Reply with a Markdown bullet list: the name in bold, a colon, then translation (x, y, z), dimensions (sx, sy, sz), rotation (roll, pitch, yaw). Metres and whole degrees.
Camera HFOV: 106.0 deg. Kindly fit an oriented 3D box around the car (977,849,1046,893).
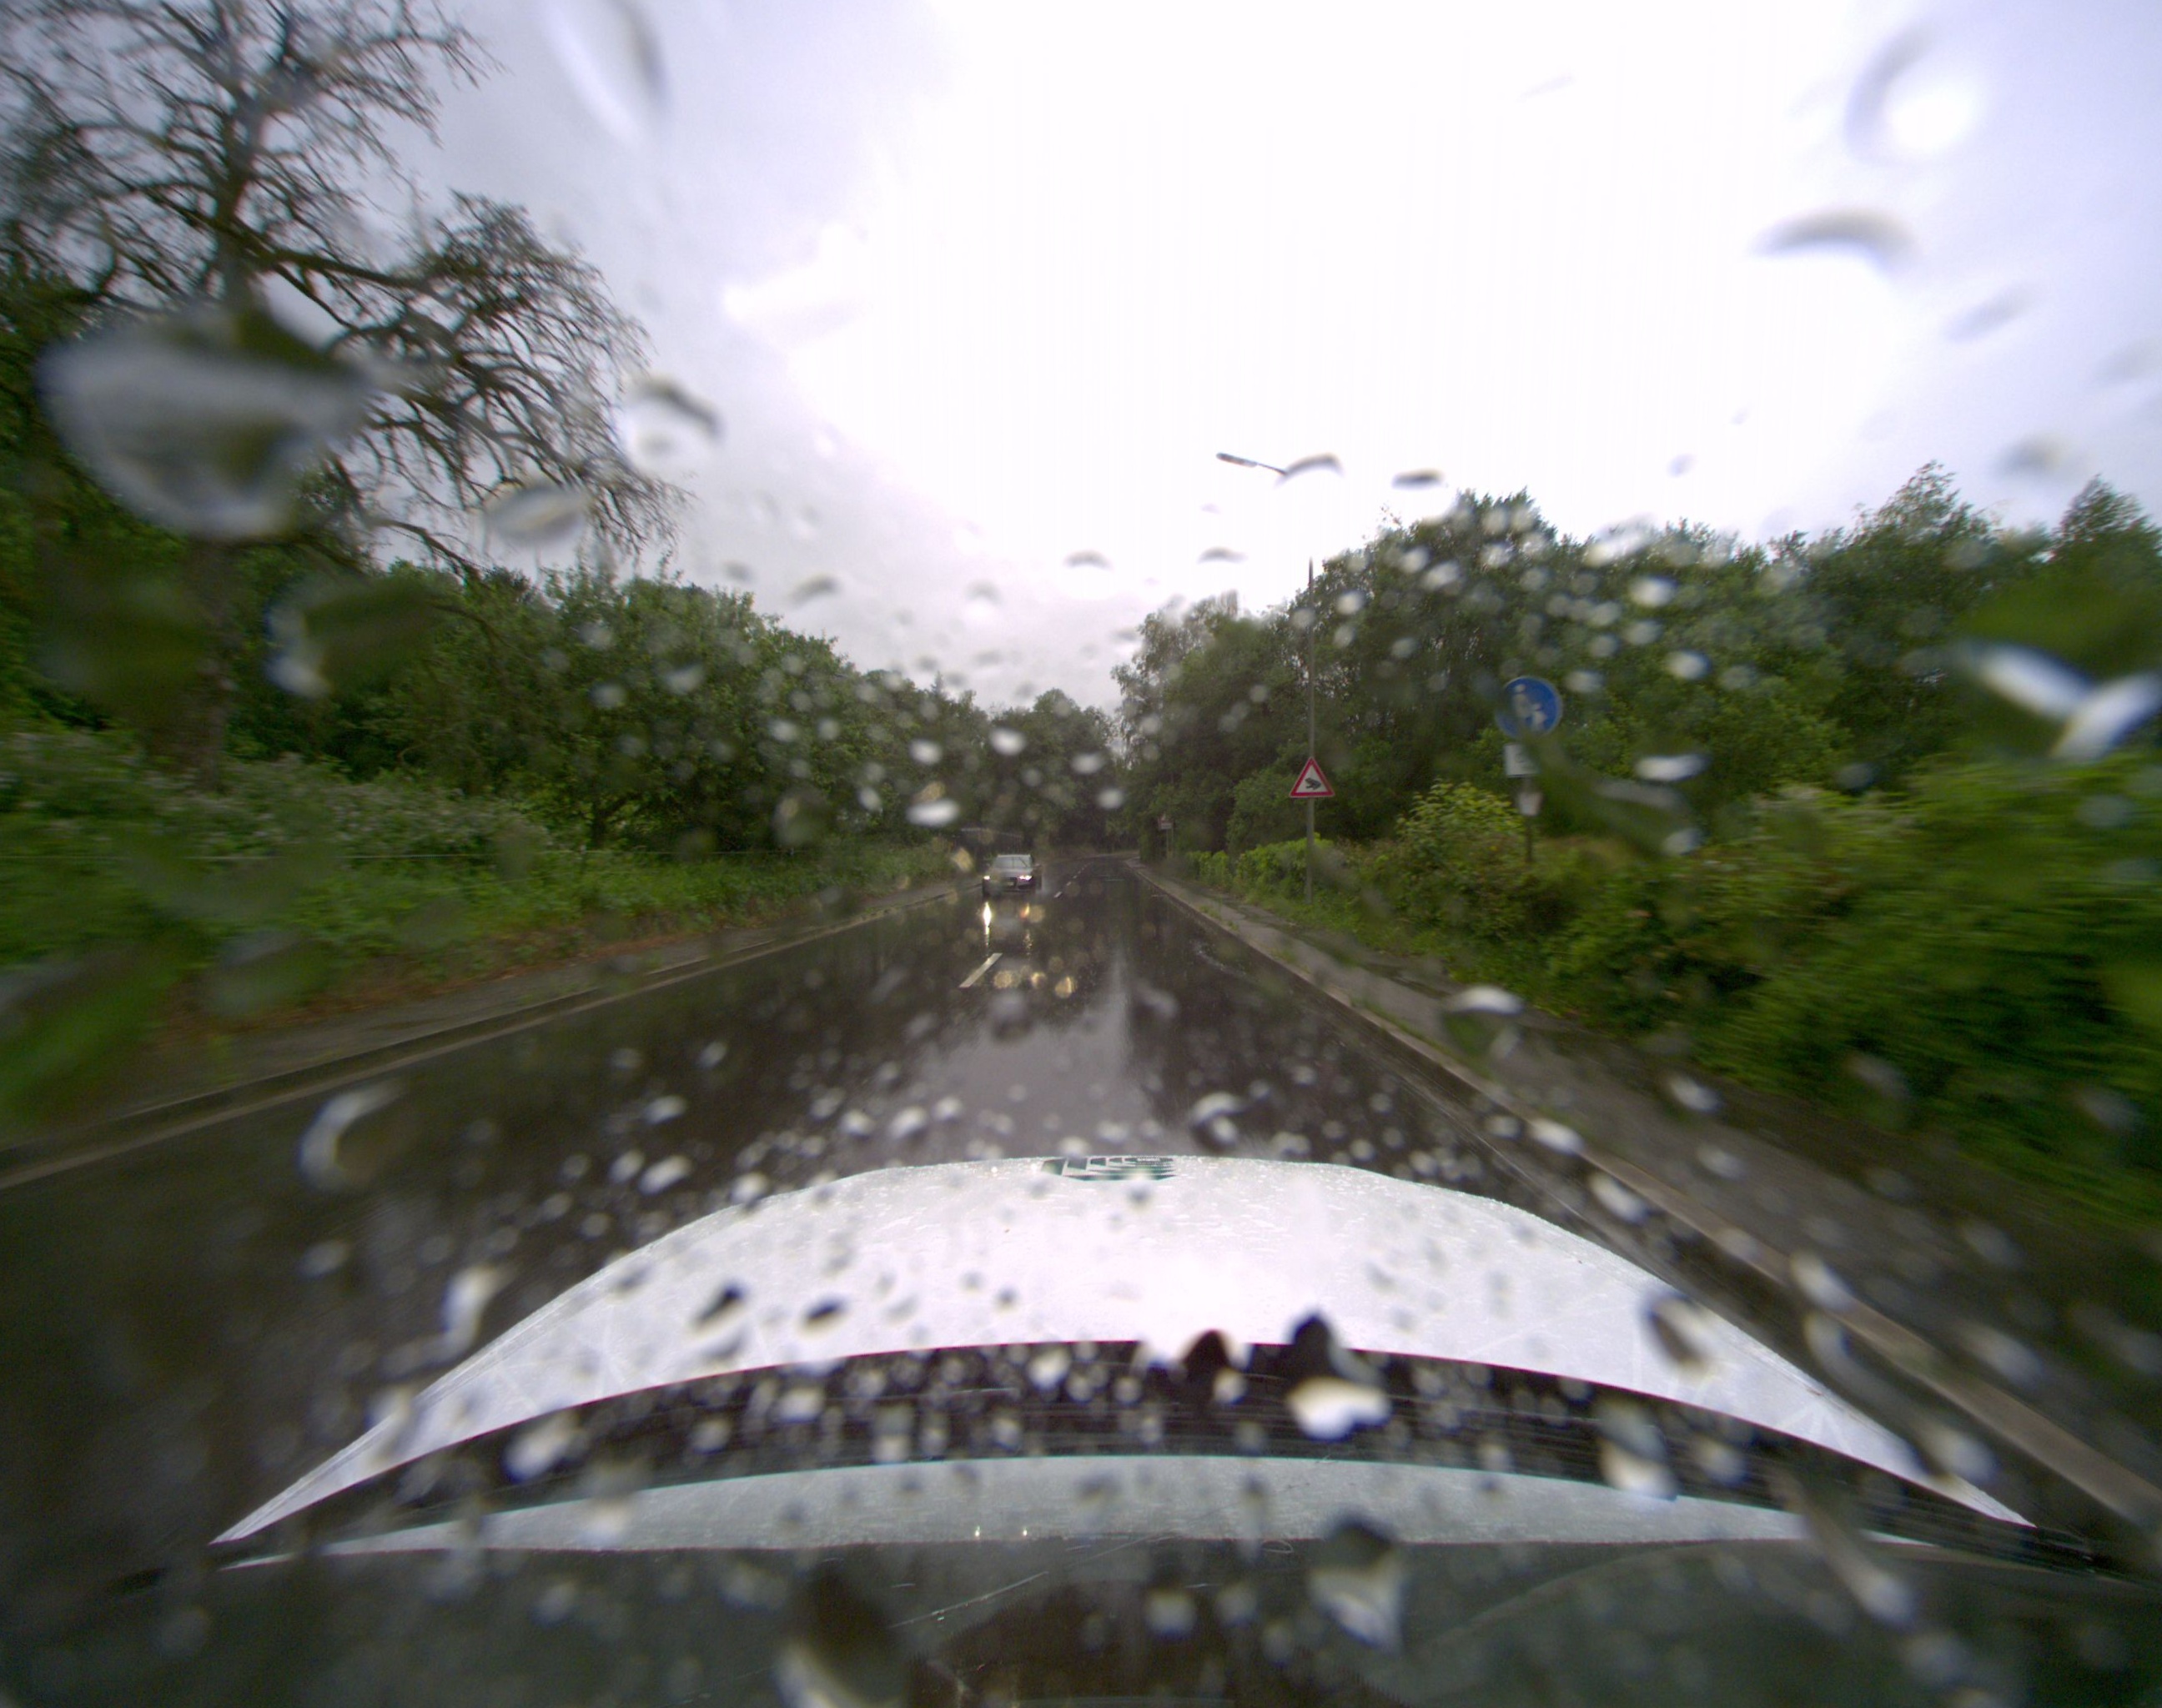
- **car**: translation (-2.429, 0.553, 29.668), dimensions (1.986, 1.454, 4.430), rotation (0, 1, 2)
